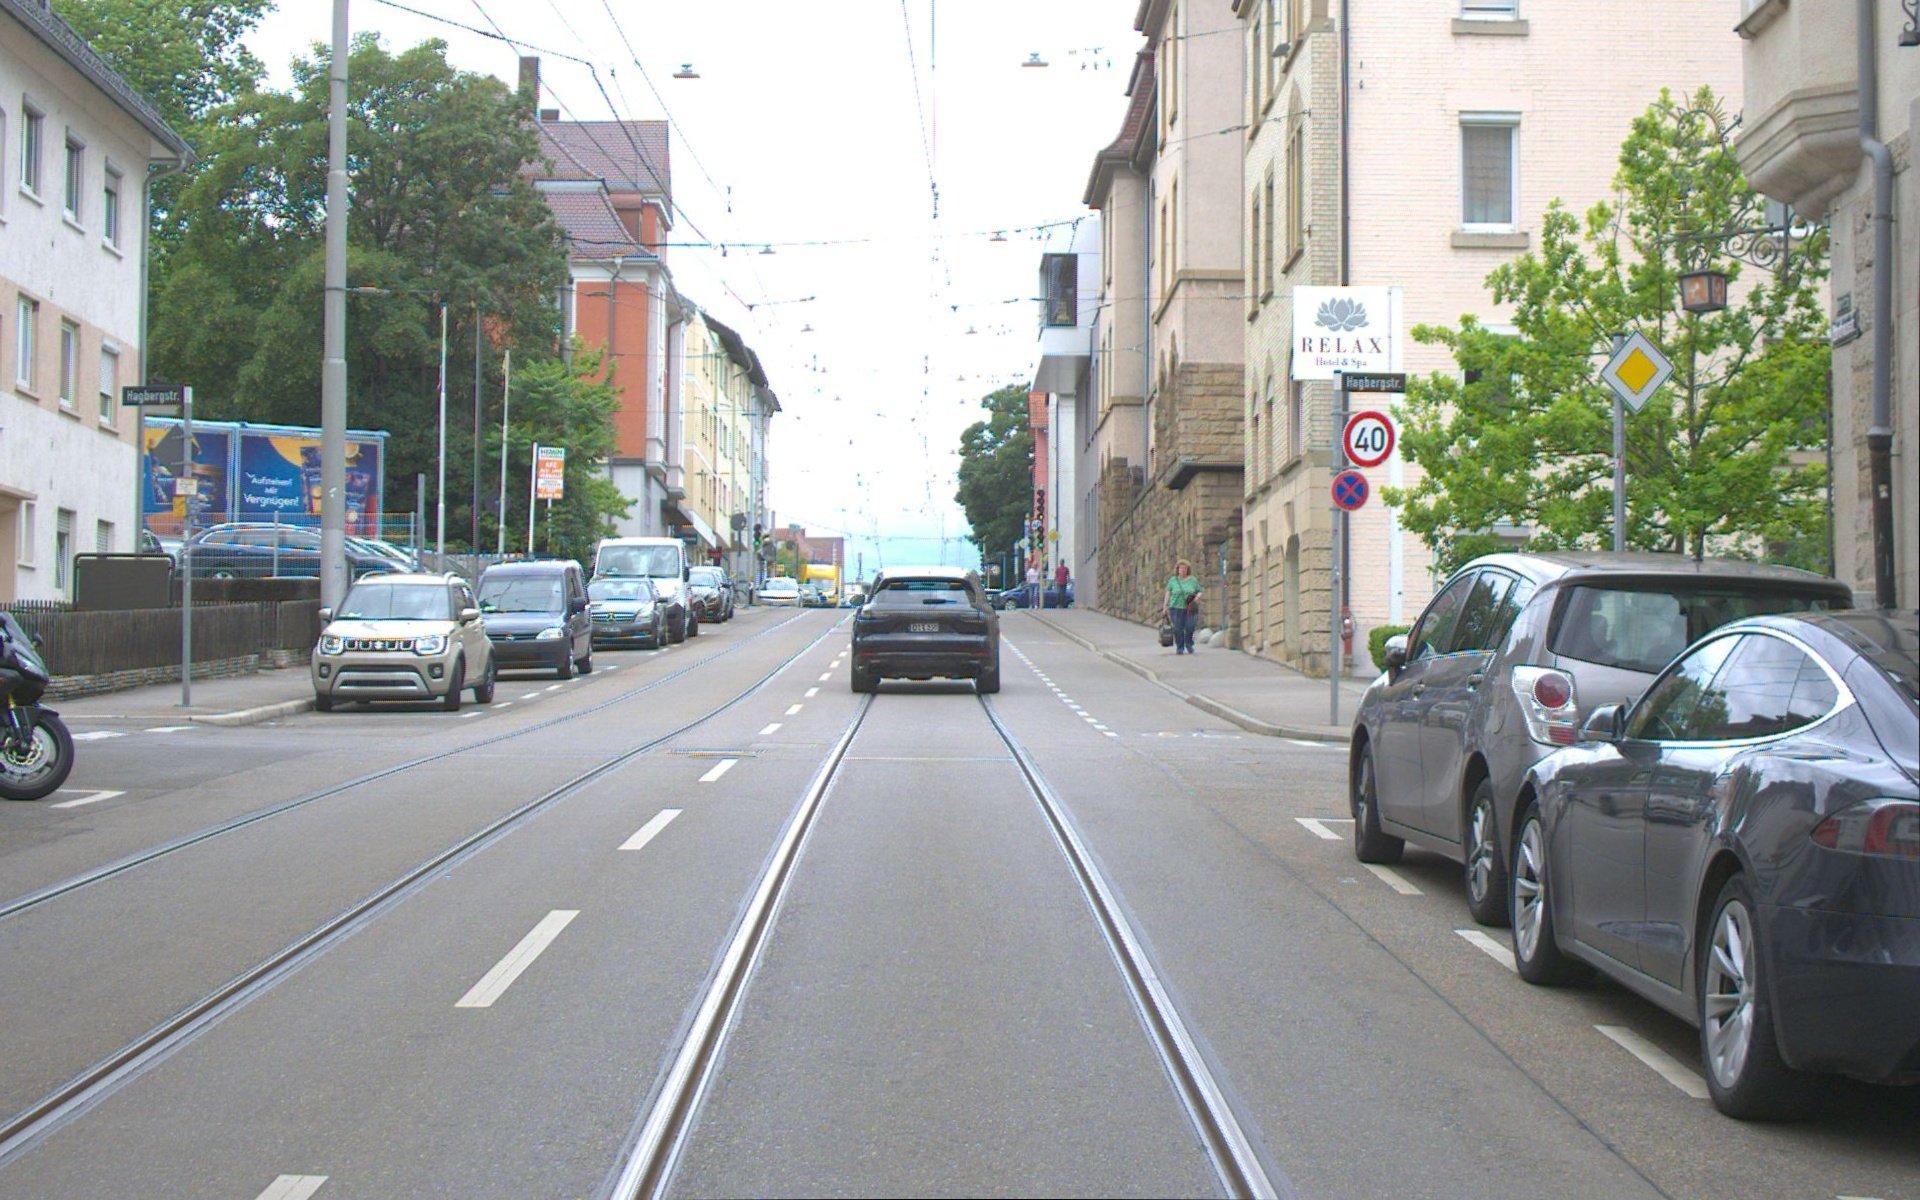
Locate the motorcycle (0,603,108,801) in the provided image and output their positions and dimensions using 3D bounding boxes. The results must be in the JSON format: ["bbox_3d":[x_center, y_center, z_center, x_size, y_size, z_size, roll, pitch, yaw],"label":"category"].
[{"bbox_3d":[-6.258,0.605,20.580,2.110,1.130,0.766,-1,1,13],"label":"motorcycle"}]

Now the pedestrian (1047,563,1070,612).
[{"bbox_3d":[3.401,-0.439,118.876,0.791,1.661,0.798,1,0,2],"label":"pedestrian"}]

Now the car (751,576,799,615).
[{"bbox_3d":[-7.757,-0.194,144.440,1.855,1.601,4.297,1,1,-1],"label":"car"}]

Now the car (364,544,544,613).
[{"bbox_3d":[-11.793,-0.503,80.102,3.958,1.546,1.689,1,1,-15],"label":"car"}]

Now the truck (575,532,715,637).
[{"bbox_3d":[-6.915,-0.370,76.299,2.280,2.180,8.025,1,1,0],"label":"truck"}]

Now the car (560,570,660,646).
[{"bbox_3d":[-7.025,0.139,69.315,1.697,1.428,4.482,-1,1,-2],"label":"car"}]

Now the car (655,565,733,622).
[{"bbox_3d":[-7.050,-0.187,91.408,1.712,1.441,4.290,1,1,0],"label":"car"}]

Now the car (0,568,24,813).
[{"bbox_3d":[-6.201,0.513,17.255,1.780,1.353,4.291,0,1,1],"label":"car"}]

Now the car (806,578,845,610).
[{"bbox_3d":[-6.926,-0.335,177.188,1.855,1.601,4.297,1,1,-1],"label":"car"}]

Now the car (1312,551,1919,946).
[{"bbox_3d":[2.901,0.577,16.213,1.735,1.532,4.575,3,1,-3],"label":"car"}]

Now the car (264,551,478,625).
[{"bbox_3d":[-11.908,-0.252,69.663,4.060,1.440,1.688,1,1,-1],"label":"car"}]

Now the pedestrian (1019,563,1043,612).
[{"bbox_3d":[2.446,-0.443,118.898,0.791,1.661,0.798,1,0,2],"label":"pedestrian"}]

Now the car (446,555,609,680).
[{"bbox_3d":[-6.366,0.230,51.000,1.744,1.730,4.519,-1,1,1],"label":"car"}]

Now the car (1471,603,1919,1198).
[{"bbox_3d":[2.935,0.769,10.748,1.779,1.386,4.692,3,1,-2],"label":"car"}]

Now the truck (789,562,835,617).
[{"bbox_3d":[-8.476,-0.602,197.563,2.302,3.026,9.034,1,0,-1],"label":"truck"}]

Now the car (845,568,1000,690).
[{"bbox_3d":[-0.483,0.353,46.755,1.993,1.558,4.290,1,1,0],"label":"car"}]

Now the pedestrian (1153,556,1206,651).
[{"bbox_3d":[3.976,0.058,62.296,0.870,1.680,0.663,-1,0,-2],"label":"pedestrian"}]

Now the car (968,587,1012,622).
[{"bbox_3d":[1.409,0.206,162.619,1.993,1.558,4.290,1,1,0],"label":"car"}]

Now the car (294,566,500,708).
[{"bbox_3d":[-6.506,0.395,40.070,1.697,1.551,3.850,1,1,1],"label":"car"}]

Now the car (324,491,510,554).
[{"bbox_3d":[-12.110,-1.722,76.834,3.876,1.352,1.688,1,1,-1],"label":"car"}]

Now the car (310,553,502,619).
[{"bbox_3d":[-11.937,-0.309,74.204,3.876,1.352,1.688,1,1,-1],"label":"car"}]
